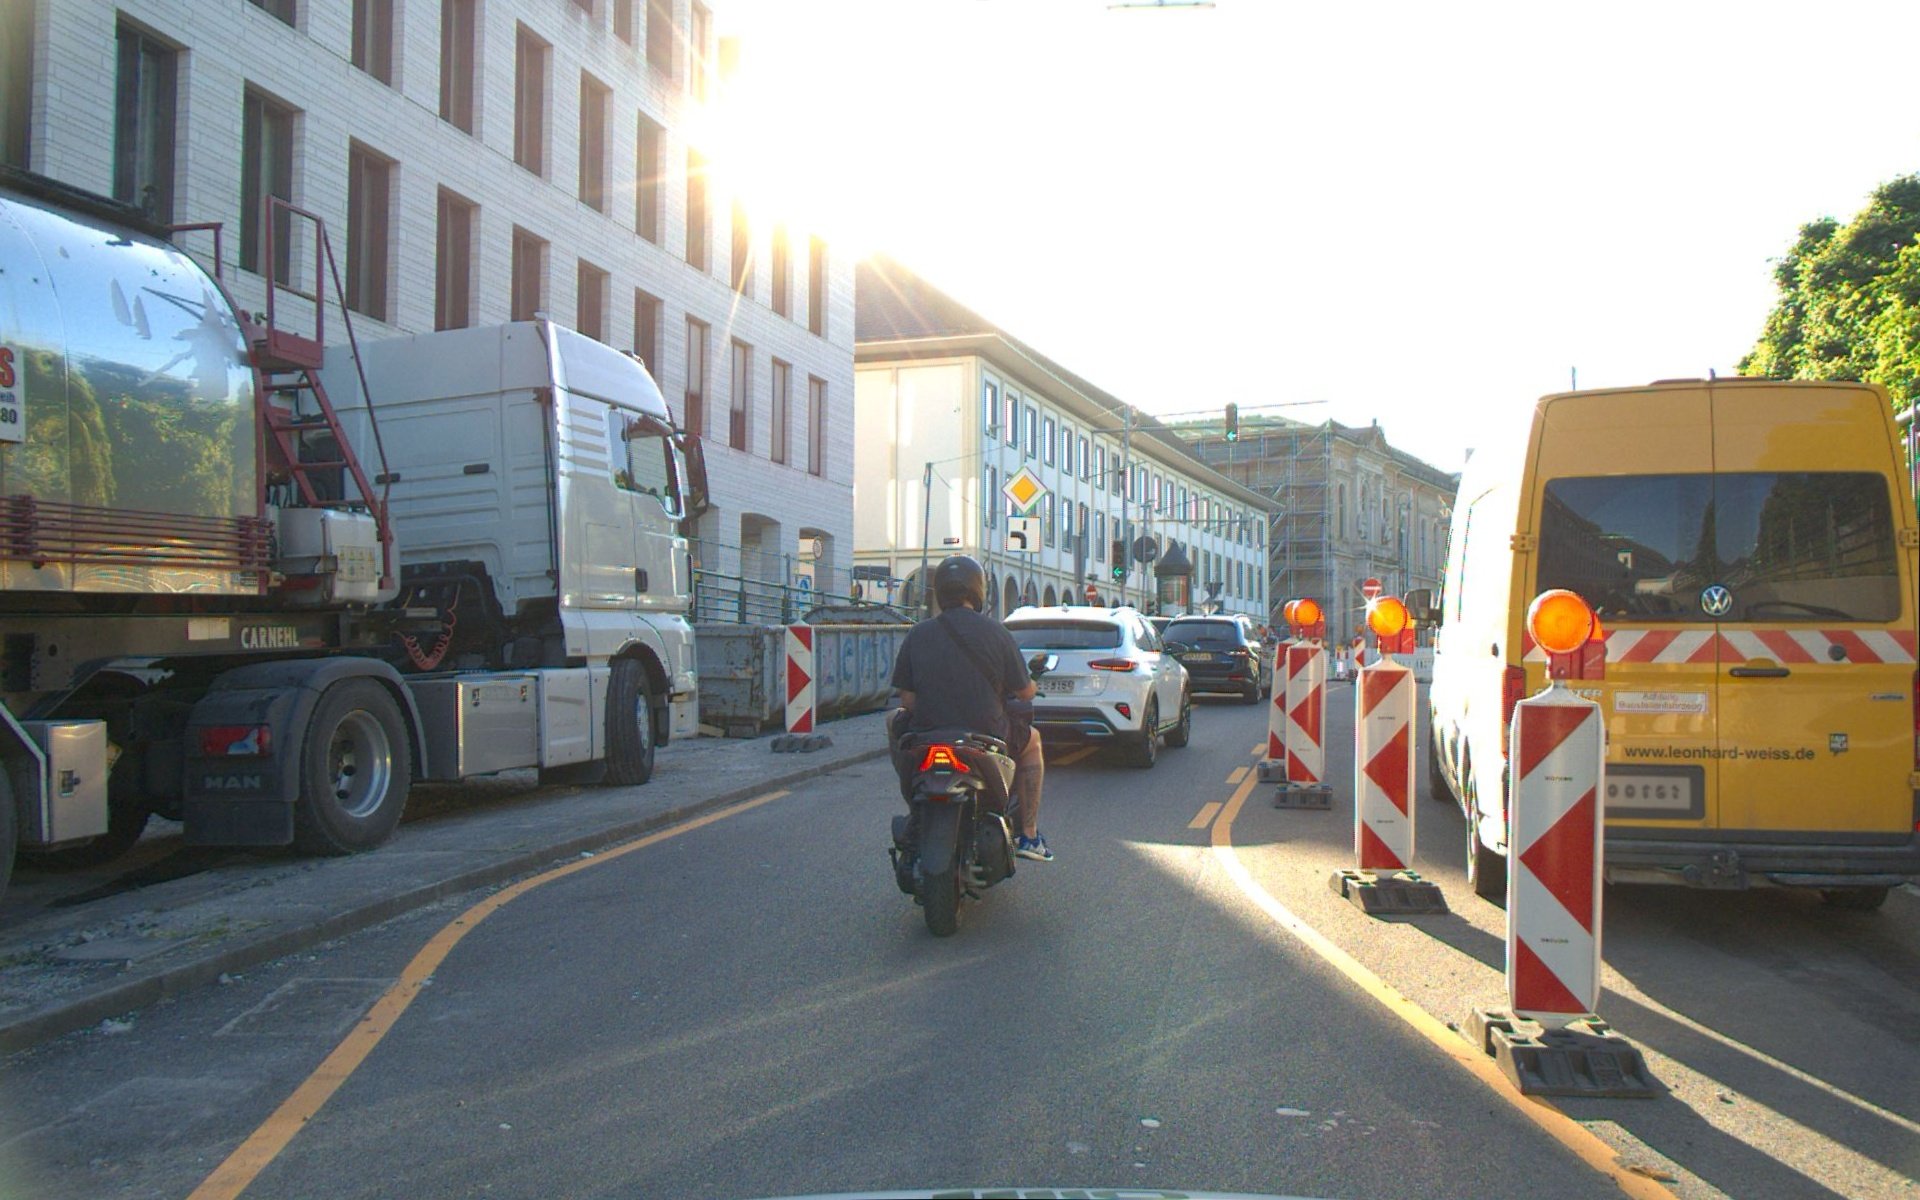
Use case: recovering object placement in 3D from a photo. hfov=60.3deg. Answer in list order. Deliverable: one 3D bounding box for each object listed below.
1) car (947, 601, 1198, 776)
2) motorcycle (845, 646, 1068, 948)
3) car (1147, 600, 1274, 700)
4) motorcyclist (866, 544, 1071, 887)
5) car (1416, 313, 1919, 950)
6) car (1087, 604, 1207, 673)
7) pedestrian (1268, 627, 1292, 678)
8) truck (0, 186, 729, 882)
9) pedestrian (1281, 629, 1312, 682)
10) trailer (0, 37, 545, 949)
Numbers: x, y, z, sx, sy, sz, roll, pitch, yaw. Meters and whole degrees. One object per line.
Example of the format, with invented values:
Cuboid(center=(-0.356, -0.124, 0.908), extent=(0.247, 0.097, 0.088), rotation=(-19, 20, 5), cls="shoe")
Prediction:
Cuboid(center=(1.264, 0.780, 16.733), extent=(1.819, 1.498, 4.003), rotation=(1, 0, 14), cls="car")
Cuboid(center=(0.068, 0.860, 8.241), extent=(0.886, 1.204, 2.580), rotation=(0, 0, 5), cls="motorcycle")
Cuboid(center=(4.346, 0.881, 28.260), extent=(1.736, 1.578, 4.109), rotation=(-1, -2, 14), cls="car")
Cuboid(center=(0.079, 0.538, 8.333), extent=(0.934, 1.587, 1.240), rotation=(0, -1, 5), cls="motorcyclist")
Cuboid(center=(4.130, 0.162, 10.503), extent=(2.067, 2.671, 6.992), rotation=(0, -1, 13), cls="car")
Cuboid(center=(4.915, 0.982, 44.079), extent=(1.774, 1.751, 4.145), rotation=(0, 0, -15), cls="car")
Cuboid(center=(10.539, 1.731, 54.458), extent=(0.709, 1.653, 0.620), rotation=(0, 0, 18), cls="pedestrian")
Cuboid(center=(-3.999, -0.280, 11.676), extent=(2.525, 3.550, 5.820), rotation=(-4, -1, 14), cls="truck")
Cuboid(center=(11.365, 1.860, 55.839), extent=(0.944, 1.740, 0.676), rotation=(0, 0, 18), cls="pedestrian")
Cuboid(center=(-5.096, -0.382, 7.271), extent=(2.586, 3.733, 8.756), rotation=(-4, -1, 12), cls="trailer")
